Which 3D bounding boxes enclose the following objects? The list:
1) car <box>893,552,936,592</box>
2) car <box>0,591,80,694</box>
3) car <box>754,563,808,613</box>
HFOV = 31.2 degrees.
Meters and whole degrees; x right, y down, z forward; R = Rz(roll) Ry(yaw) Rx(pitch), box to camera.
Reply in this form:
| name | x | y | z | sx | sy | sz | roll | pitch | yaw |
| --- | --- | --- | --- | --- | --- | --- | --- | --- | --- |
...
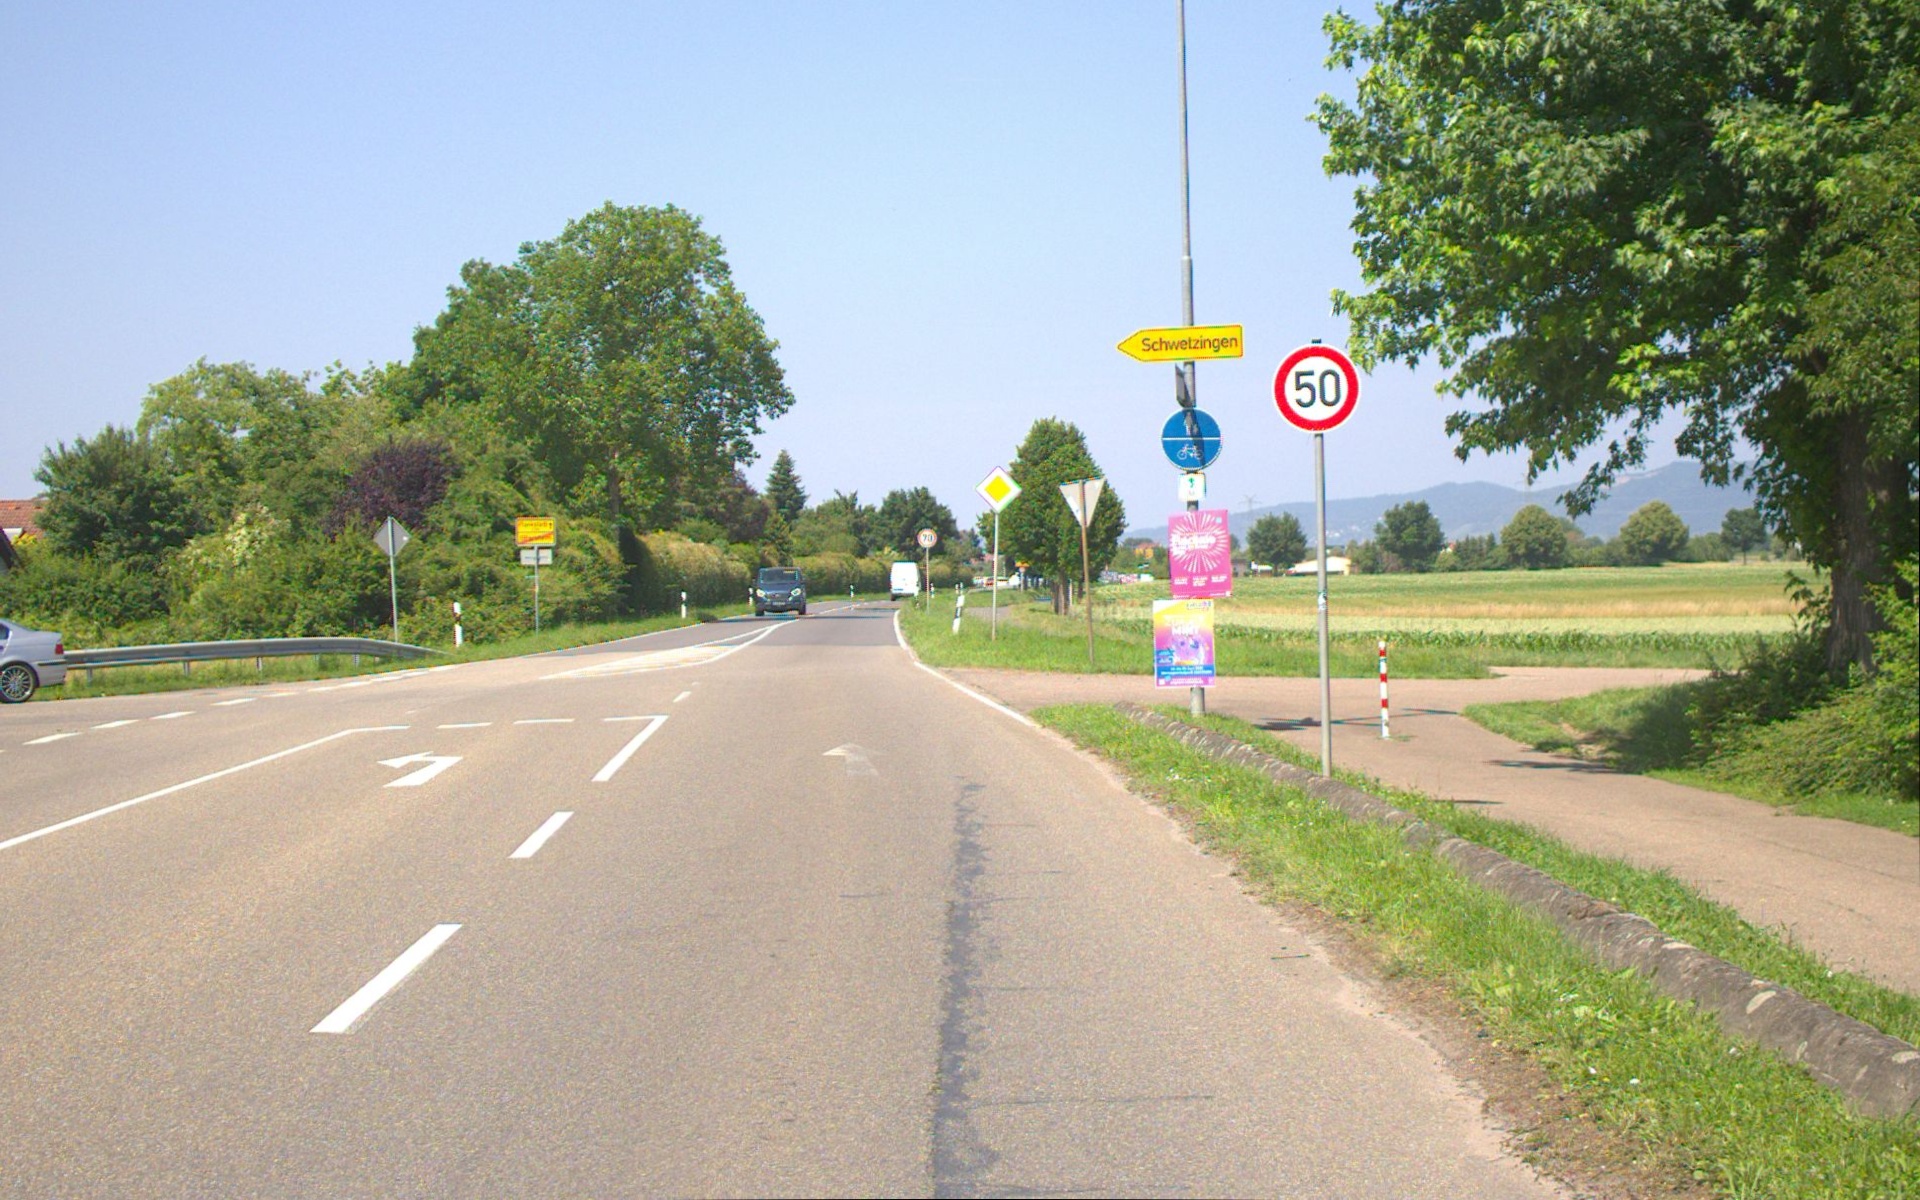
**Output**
| name | x | y | z | sx | sy | sz | roll | pitch | yaw |
| --- | --- | --- | --- | --- | --- | --- | --- | --- | --- |
| car | -3.179 | -1.977 | 239.293 | 1.995 | 2.642 | 3.998 | -2 | 1 | 13 |
| car | -15.279 | 0.681 | 50.132 | 4.401 | 1.466 | 1.641 | -2 | 1 | -32 |
| car | -7.357 | -0.529 | 141.572 | 2.144 | 1.944 | 5.248 | -2 | 1 | -3 |
